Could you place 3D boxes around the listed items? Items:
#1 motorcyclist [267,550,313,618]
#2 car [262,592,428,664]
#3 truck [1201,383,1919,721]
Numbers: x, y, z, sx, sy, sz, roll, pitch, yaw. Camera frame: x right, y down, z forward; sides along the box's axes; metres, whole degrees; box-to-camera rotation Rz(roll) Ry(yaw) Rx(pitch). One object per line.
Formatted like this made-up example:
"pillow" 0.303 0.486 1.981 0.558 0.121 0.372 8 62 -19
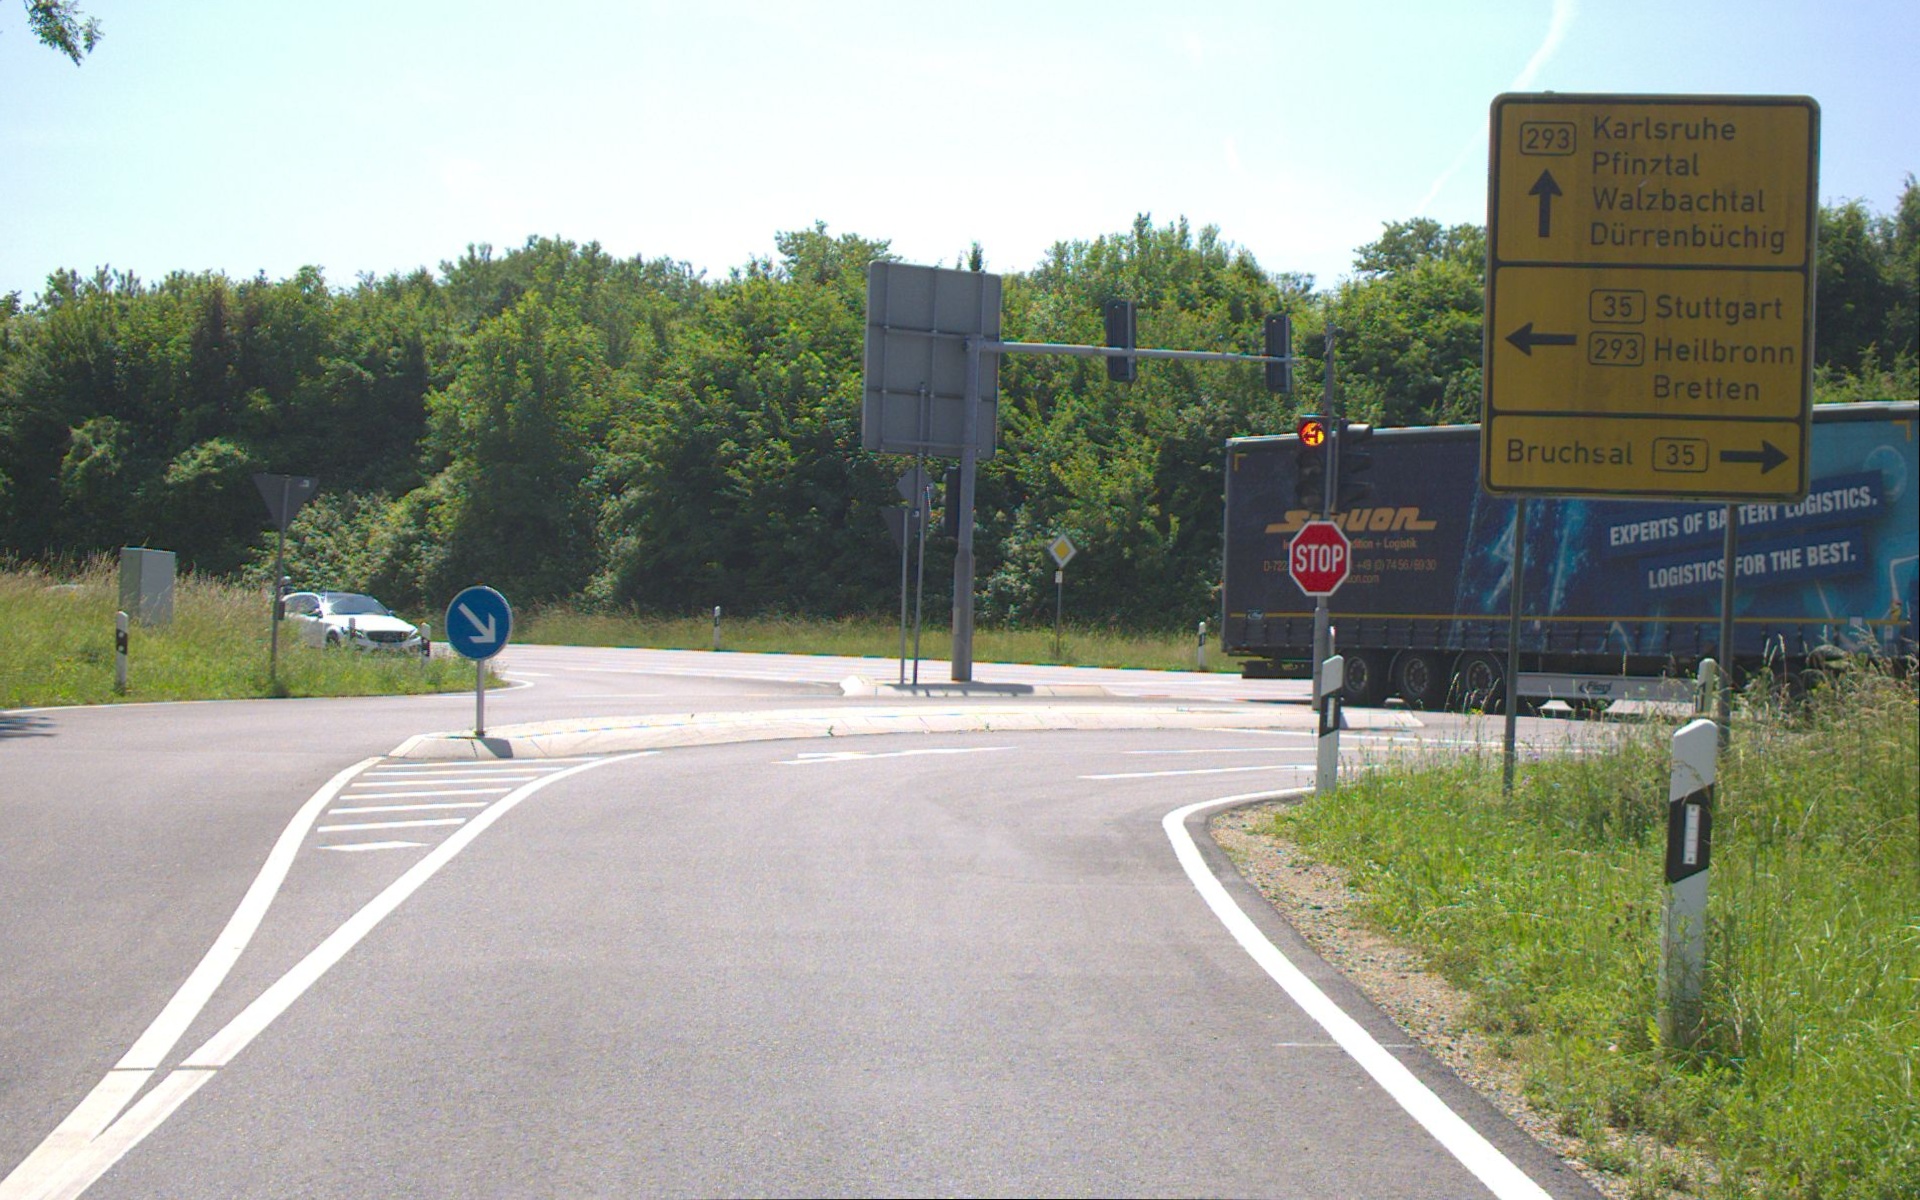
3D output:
"motorcyclist" -18.141 -0.433 93.051 0.898 1.837 0.837 -1 0 44
"car" -12.835 0.561 71.474 1.804 1.407 5.335 1 0 -28
"truck" 9.722 -0.647 47.059 2.843 4.117 16.810 1 0 -35
